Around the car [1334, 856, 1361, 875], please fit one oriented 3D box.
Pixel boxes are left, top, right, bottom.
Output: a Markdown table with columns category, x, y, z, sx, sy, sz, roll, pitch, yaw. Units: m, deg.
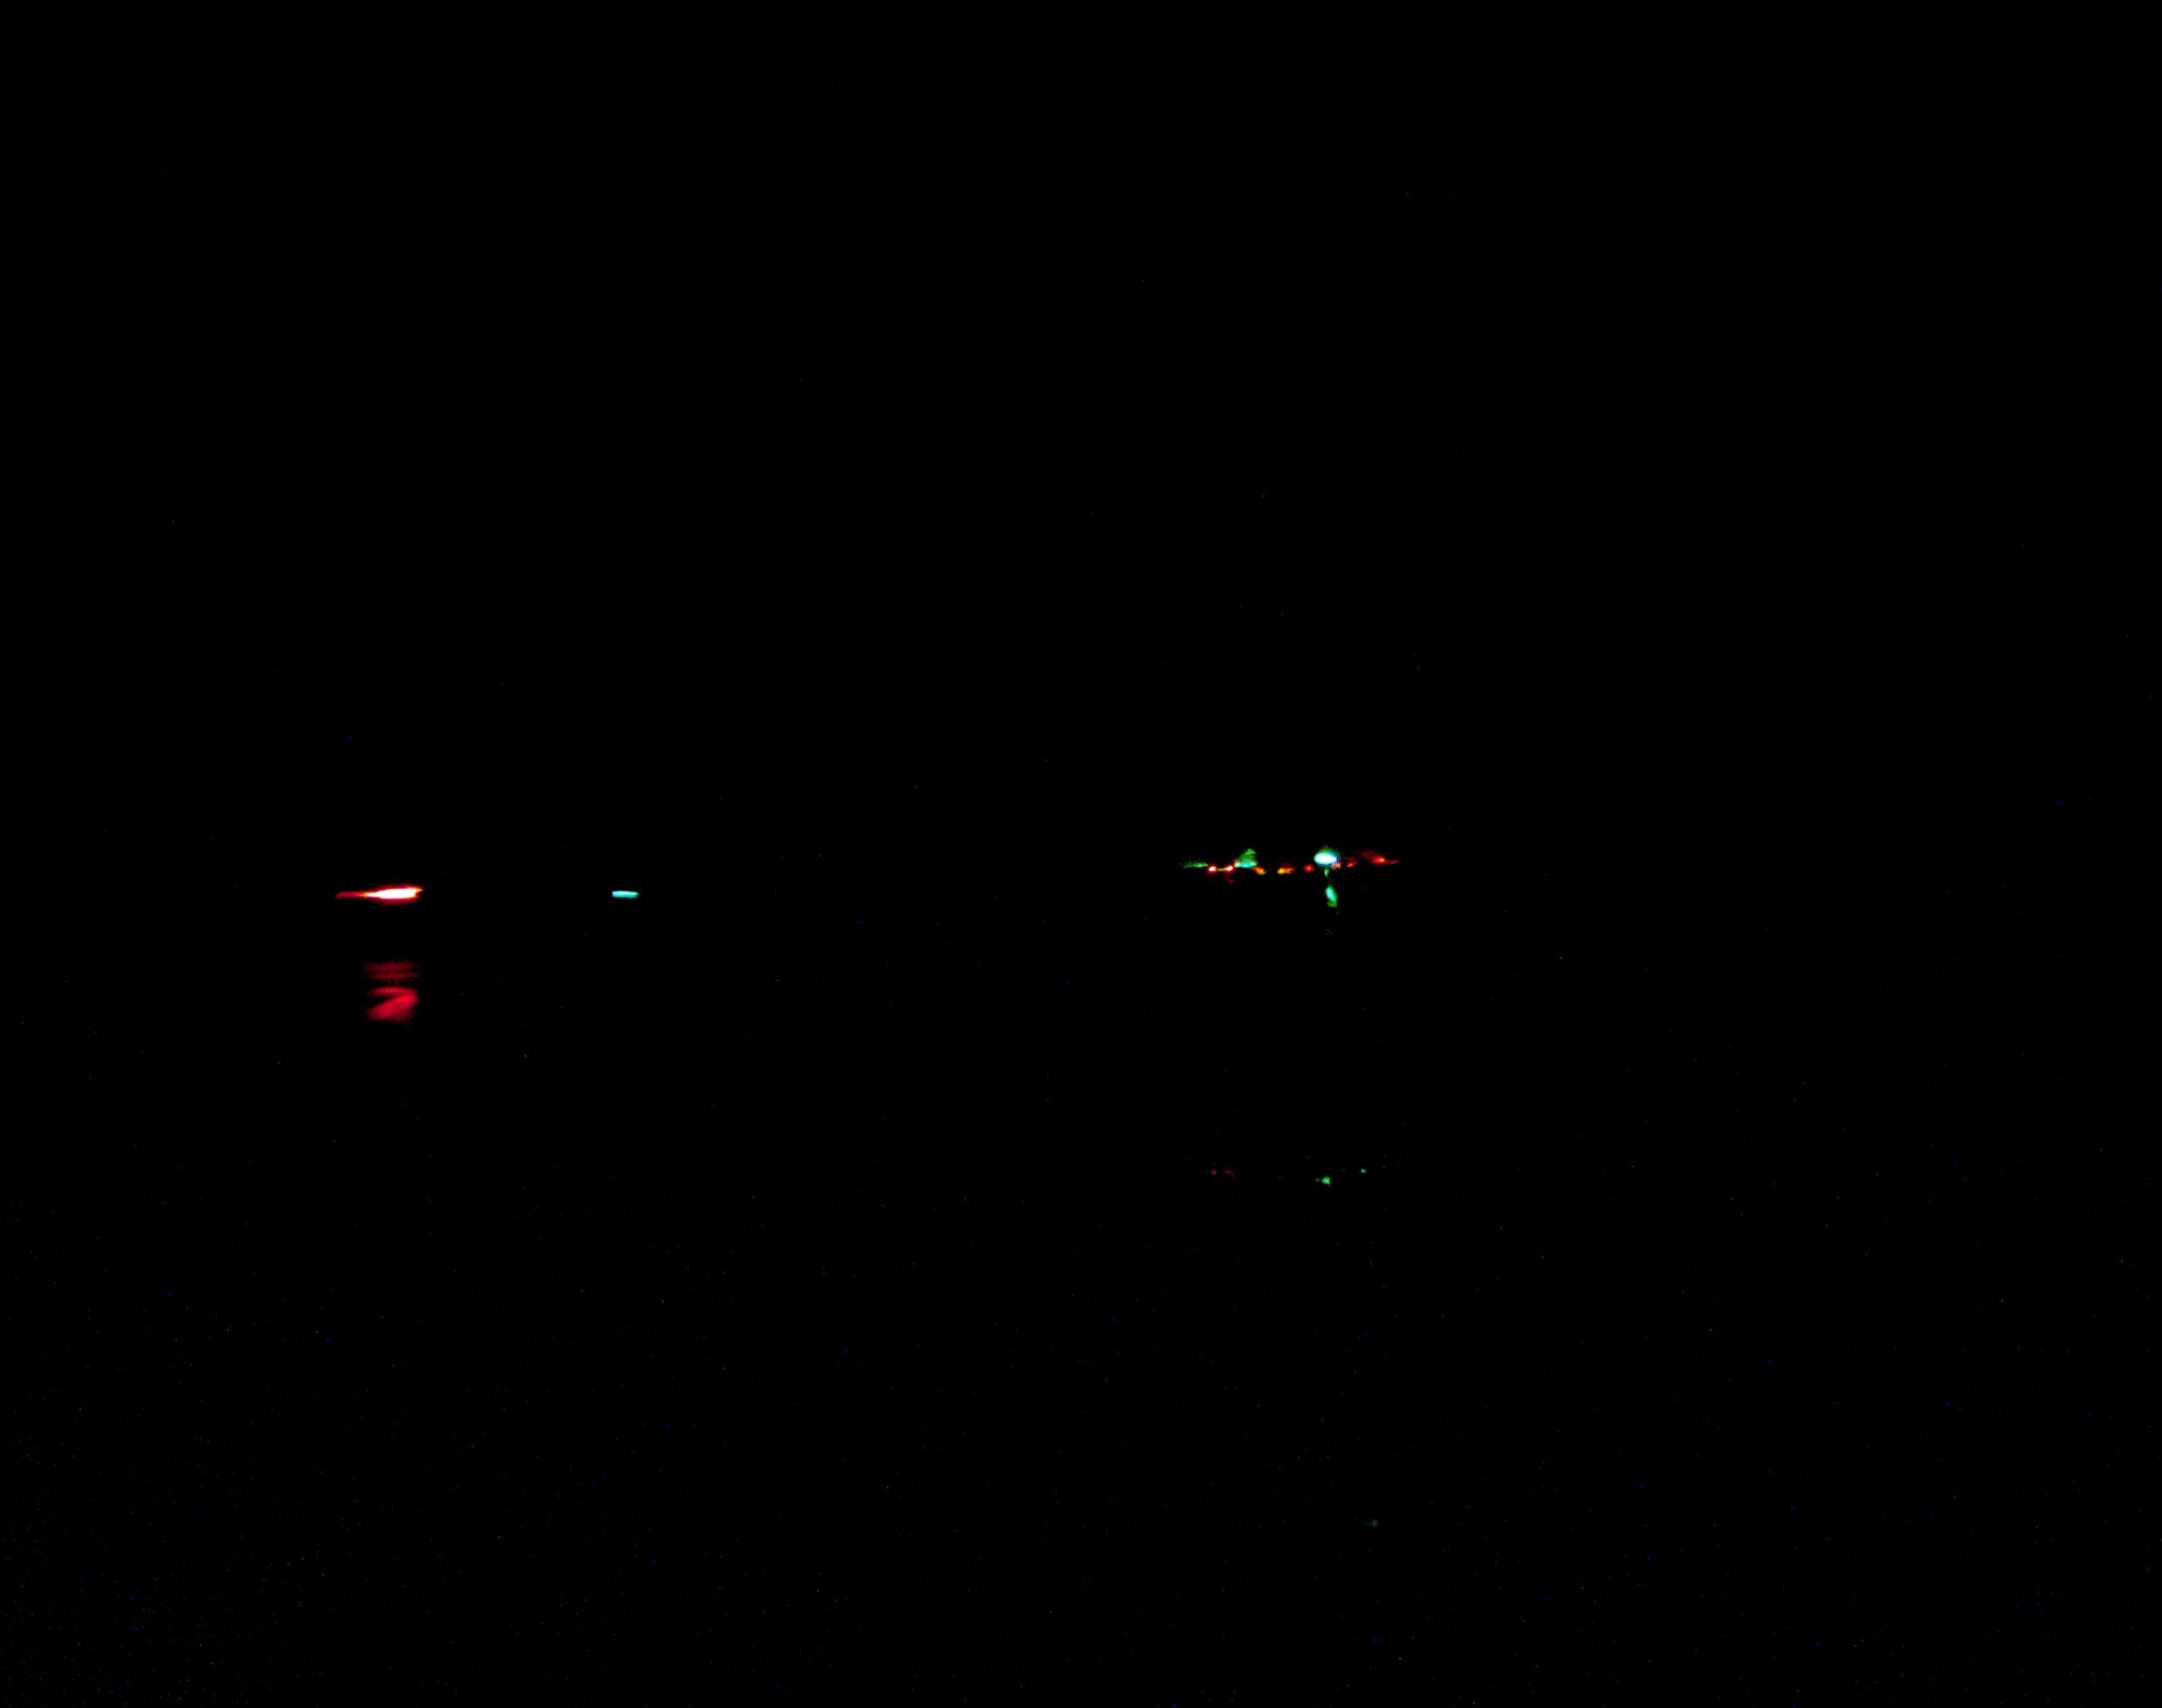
| category | x | y | z | sx | sy | sz | roll | pitch | yaw |
| --- | --- | --- | --- | --- | --- | --- | --- | --- | --- |
| car | 27.639 | 1.181 | 84.439 | 1.975 | 1.818 | 4.023 | 2 | 0 | 27 |

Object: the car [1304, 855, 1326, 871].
| category | x | y | z | sx | sy | sz | roll | pitch | yaw |
| --- | --- | --- | --- | --- | --- | --- | --- | --- | --- |
| car | 31.187 | 1.188 | 108.679 | 1.975 | 2.013 | 4.024 | 2 | 0 | 28 |

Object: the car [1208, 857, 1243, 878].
| category | x | y | z | sx | sy | sz | roll | pitch | yaw |
| --- | --- | --- | --- | --- | --- | --- | --- | --- | --- |
| car | 12.277 | 1.111 | 68.875 | 1.976 | 1.618 | 4.022 | 2 | 0 | 23 |

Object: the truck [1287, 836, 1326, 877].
| category | x | y | z | sx | sy | sz | roll | pitch | yaw |
| --- | --- | --- | --- | --- | --- | --- | --- | --- | --- |
| truck | 21.924 | 0.251 | 78.920 | 2.564 | 3.711 | 5.489 | 2 | 0 | 26 |

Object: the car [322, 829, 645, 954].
| category | x | y | z | sx | sy | sz | roll | pitch | yaw |
| --- | --- | --- | --- | --- | --- | --- | --- | --- | --- |
| car | -11.314 | 0.627 | 15.848 | 1.975 | 2.013 | 4.595 | 2 | 0 | 28 |

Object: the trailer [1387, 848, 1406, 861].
| category | x | y | z | sx | sy | sz | roll | pitch | yaw |
| --- | --- | --- | --- | --- | --- | --- | --- | --- | --- |
| trailer | 71.671 | 0.154 | 184.730 | 2.662 | 2.699 | 12.933 | 2 | 0 | 27 |

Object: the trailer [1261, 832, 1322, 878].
| category | x | y | z | sx | sy | sz | roll | pitch | yaw |
| --- | --- | --- | --- | --- | --- | --- | --- | --- | --- |
| trailer | 19.079 | 0.176 | 73.027 | 2.568 | 3.725 | 13.731 | 2 | 0 | 26 |
